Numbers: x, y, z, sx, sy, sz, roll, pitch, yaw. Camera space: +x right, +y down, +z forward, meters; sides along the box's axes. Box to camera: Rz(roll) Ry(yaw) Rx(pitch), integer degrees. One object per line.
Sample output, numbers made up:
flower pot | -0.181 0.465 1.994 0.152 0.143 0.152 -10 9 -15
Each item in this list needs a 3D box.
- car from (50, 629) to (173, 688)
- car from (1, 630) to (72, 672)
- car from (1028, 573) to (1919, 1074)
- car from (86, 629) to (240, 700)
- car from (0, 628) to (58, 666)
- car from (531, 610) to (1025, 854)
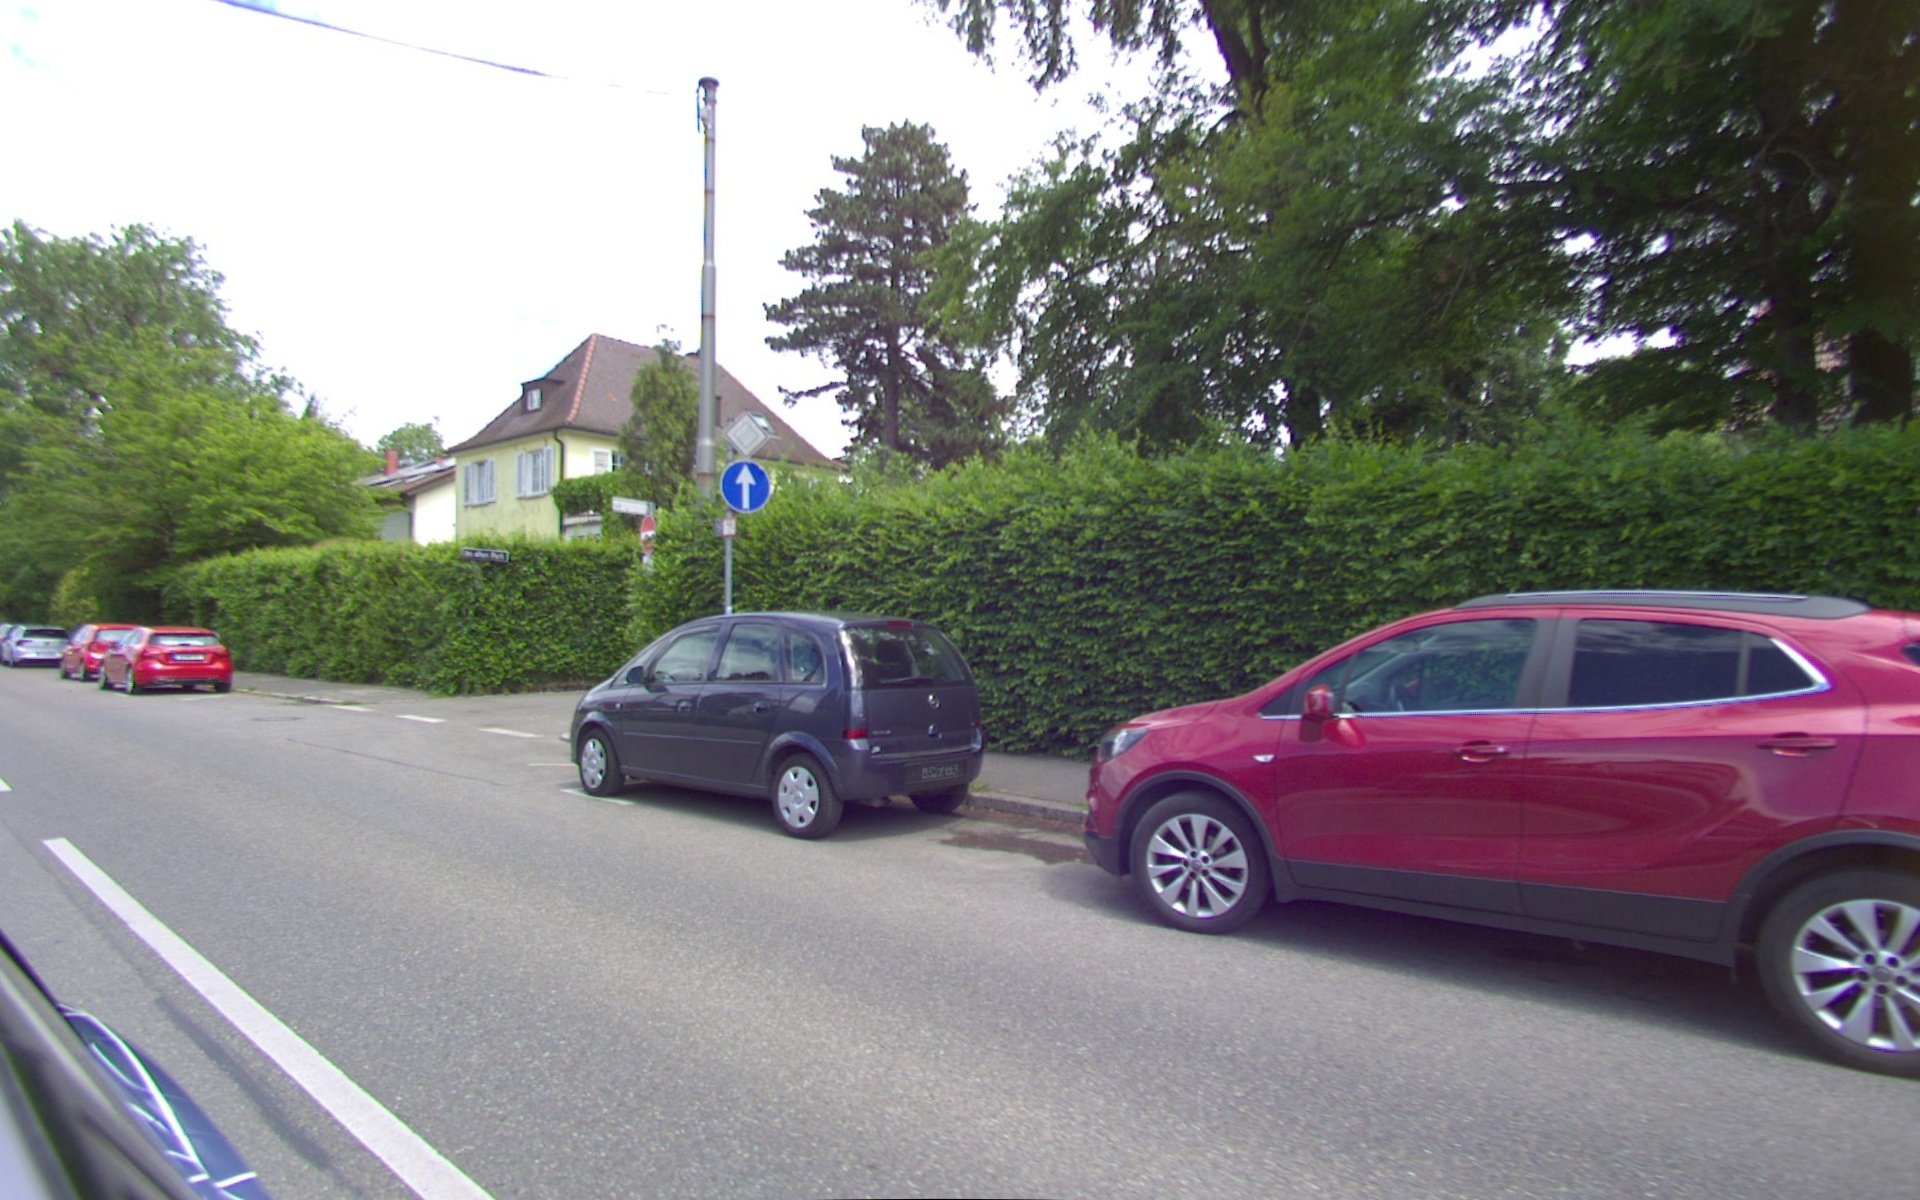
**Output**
car | -22.643 1.508 26.983 3.744 1.461 1.830 -1 -2 39
car | -32.236 1.753 35.305 1.653 1.381 3.608 4 -4 -45
car | 2.644 0.764 4.780 4.410 1.623 1.773 -1 -2 38
car | -17.705 1.352 22.435 4.063 1.413 1.946 -2 -2 41
car | -36.324 1.774 38.950 3.895 1.413 1.796 -1 -2 39
car | -1.701 0.904 8.499 4.324 1.546 1.739 -1 -3 40
